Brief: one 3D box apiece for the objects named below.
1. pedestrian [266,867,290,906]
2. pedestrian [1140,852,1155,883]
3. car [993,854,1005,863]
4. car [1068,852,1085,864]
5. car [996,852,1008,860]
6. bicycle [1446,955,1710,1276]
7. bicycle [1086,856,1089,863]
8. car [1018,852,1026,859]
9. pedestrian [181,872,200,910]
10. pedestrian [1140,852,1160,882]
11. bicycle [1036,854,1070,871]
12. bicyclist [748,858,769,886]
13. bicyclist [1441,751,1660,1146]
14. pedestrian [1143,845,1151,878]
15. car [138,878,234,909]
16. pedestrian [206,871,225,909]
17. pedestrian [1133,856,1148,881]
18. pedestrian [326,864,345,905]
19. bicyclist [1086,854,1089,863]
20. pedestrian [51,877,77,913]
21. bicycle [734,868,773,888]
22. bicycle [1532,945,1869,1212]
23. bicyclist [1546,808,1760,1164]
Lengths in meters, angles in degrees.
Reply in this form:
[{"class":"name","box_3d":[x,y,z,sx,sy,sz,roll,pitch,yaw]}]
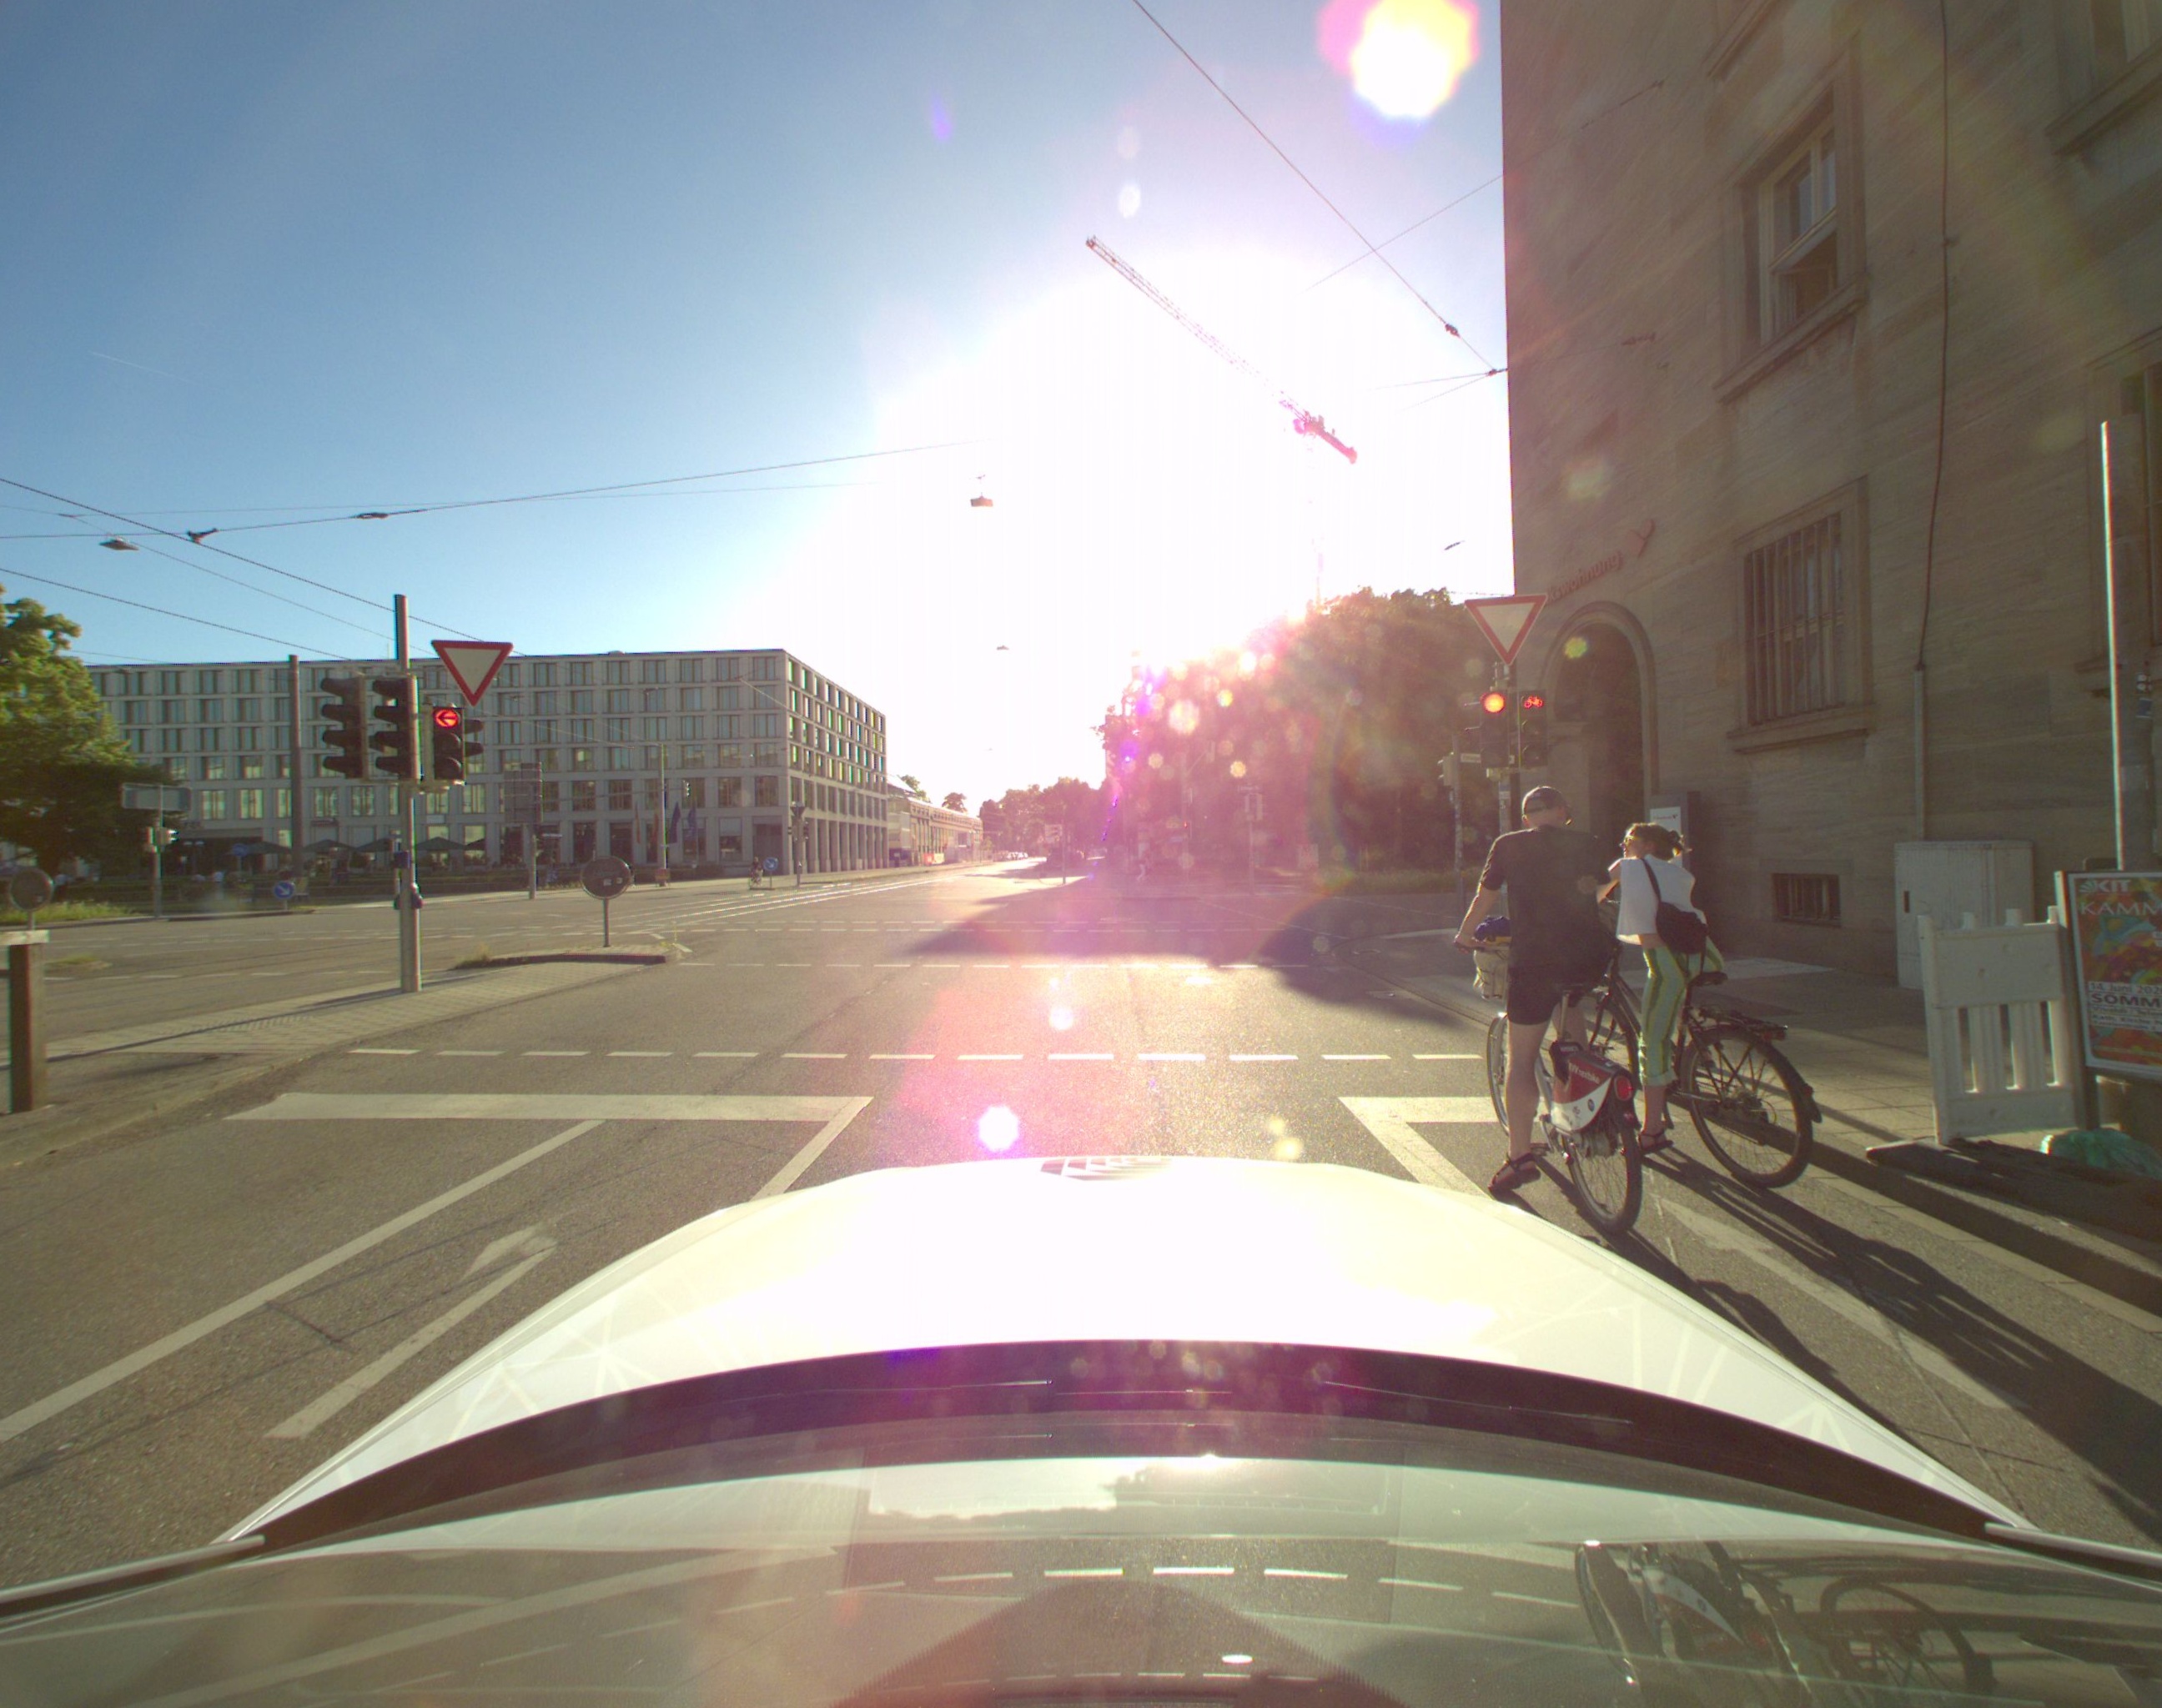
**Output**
[{"class":"pedestrian","box_3d":[-43.912,1.783,44.542,0.648,2.069,0.649,-2,-3,-5]},{"class":"pedestrian","box_3d":[3.616,0.709,44.166,0.792,1.639,0.534,-2,0,4]},{"class":"car","box_3d":[-15.714,0.793,156.719,1.724,1.653,4.002,-2,0,2]},{"class":"car","box_3d":[-0.502,0.406,89.557,1.814,1.279,3.999,-2,0,0]},{"class":"car","box_3d":[-15.542,0.389,160.809,1.724,1.653,4.002,-2,0,2]},{"class":"bicycle","box_3d":[2.235,1.066,3.924,0.387,0.905,1.956,-2,0,10]},{"class":"bicycle","box_3d":[0.766,0.651,98.685,0.323,0.868,1.481,-2,0,-3]},{"class":"car","box_3d":[-14.041,0.323,195.377,1.478,1.750,4.002,-2,0,2]},{"class":"pedestrian","box_3d":[-47.605,1.965,43.531,0.490,2.013,0.493,-2,0,14]},{"class":"pedestrian","box_3d":[3.665,0.680,43.385,0.980,1.587,0.661,-2,-1,3]},{"class":"bicycle","box_3d":[-2.326,0.724,67.366,2.728,1.367,0.633,-1,-1,12]},{"class":"bicyclist","box_3d":[-19.343,1.051,48.874,0.872,1.641,0.822,-2,0,3]},{"class":"bicyclist","box_3d":[2.163,0.407,3.840,0.666,1.678,0.658,-2,0,10]},{"class":"pedestrian","box_3d":[3.621,0.395,44.671,0.358,1.804,0.508,-2,0,14]},{"class":"car","box_3d":[-46.868,2.070,42.699,3.180,1.438,1.468,-2,0,-6]},{"class":"pedestrian","box_3d":[-47.406,1.968,44.623,0.490,2.013,0.493,-2,0,14]},{"class":"pedestrian","box_3d":[3.200,0.772,43.670,0.749,1.332,0.743,-2,0,3]},{"class":"pedestrian","box_3d":[-42.365,1.724,46.271,0.568,2.280,0.532,-2,0,-5]},{"class":"bicyclist","box_3d":[0.787,0.549,98.641,0.317,1.127,0.291,-2,0,3]},{"class":"pedestrian","box_3d":[-55.267,2.221,44.268,0.557,1.903,0.684,-2,0,10]},{"class":"bicycle","box_3d":[-19.378,1.405,48.270,0.872,1.121,3.015,-2,0,3]},{"class":"bicycle","box_3d":[3.092,1.035,4.334,0.424,0.876,1.953,-2,0,5]},{"class":"bicyclist","box_3d":[2.953,0.627,4.290,0.519,1.679,0.860,-2,0,5]}]
